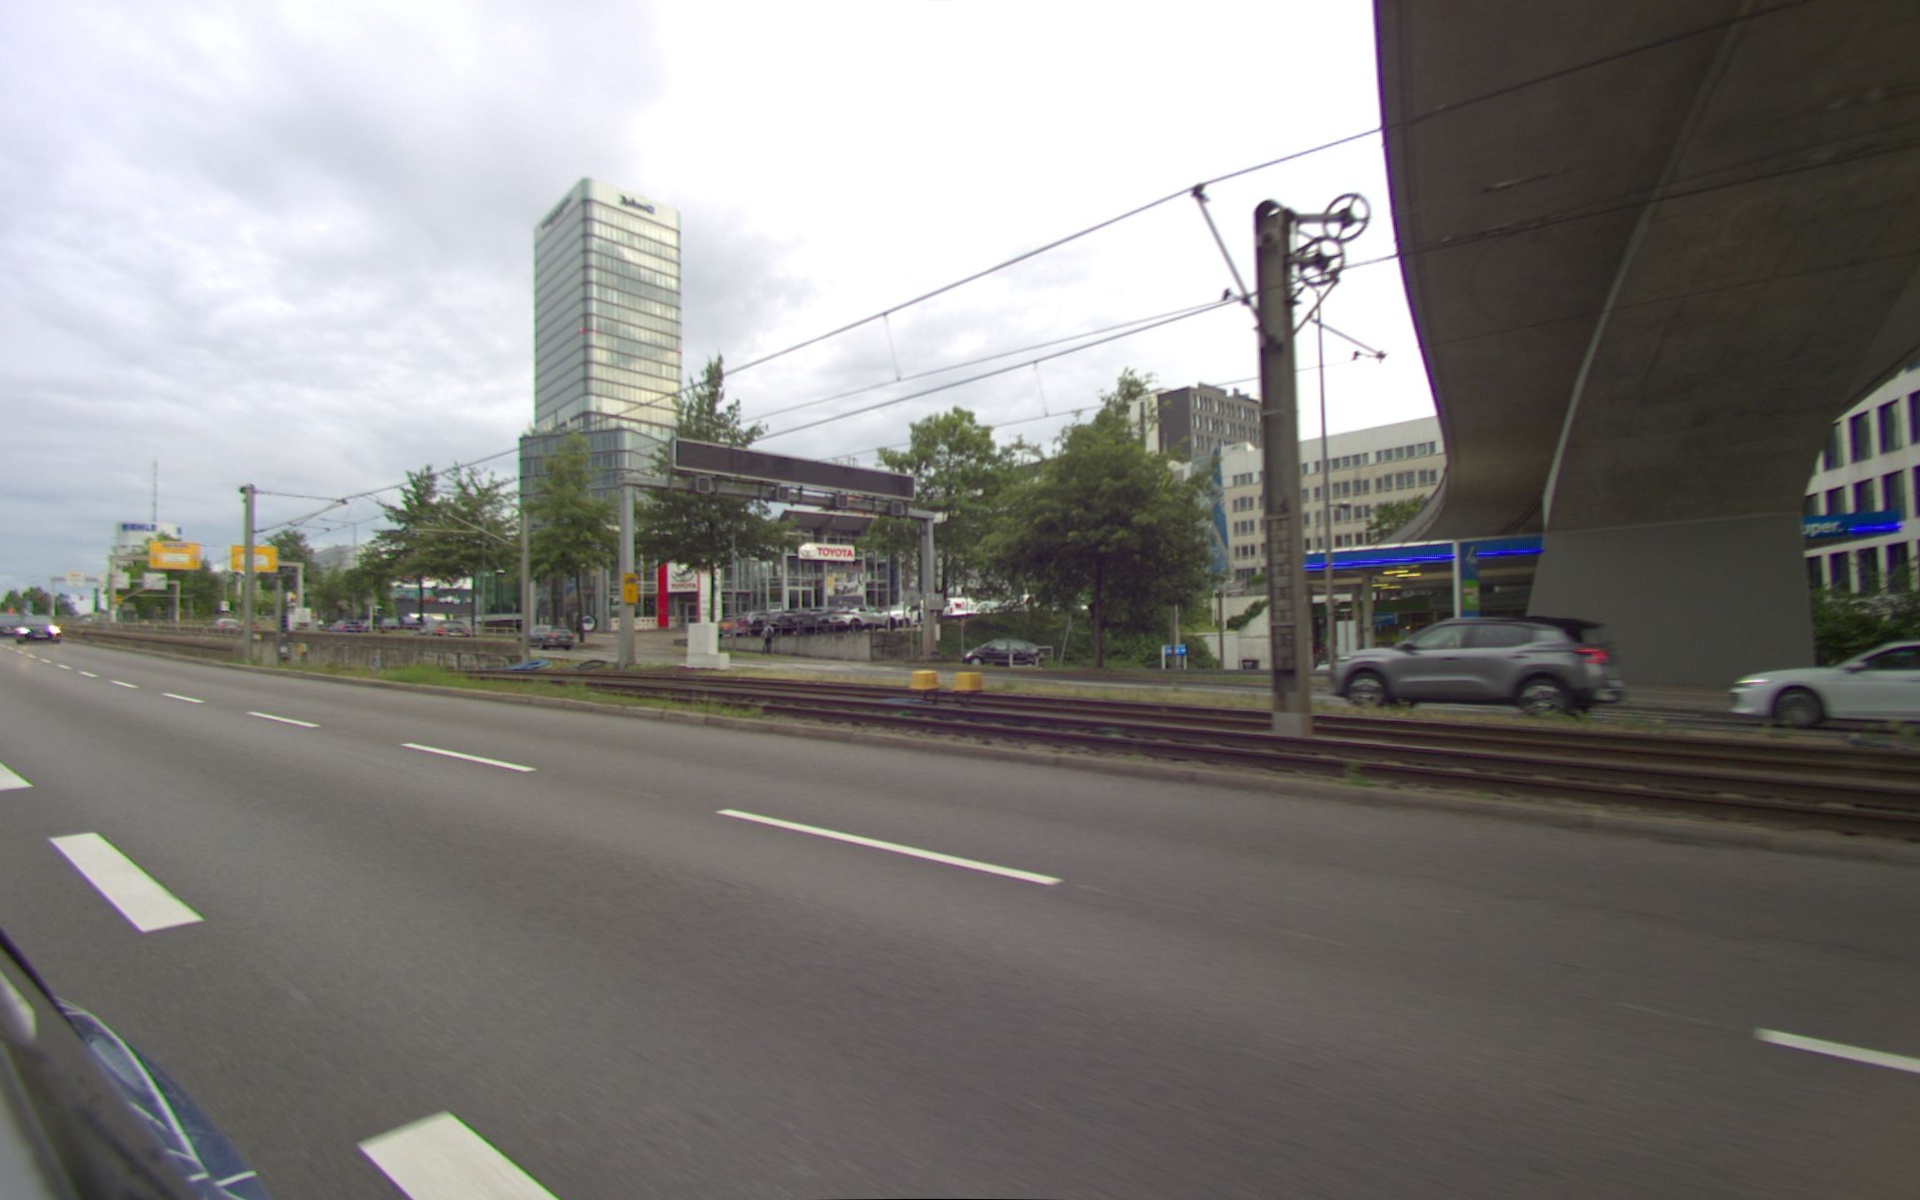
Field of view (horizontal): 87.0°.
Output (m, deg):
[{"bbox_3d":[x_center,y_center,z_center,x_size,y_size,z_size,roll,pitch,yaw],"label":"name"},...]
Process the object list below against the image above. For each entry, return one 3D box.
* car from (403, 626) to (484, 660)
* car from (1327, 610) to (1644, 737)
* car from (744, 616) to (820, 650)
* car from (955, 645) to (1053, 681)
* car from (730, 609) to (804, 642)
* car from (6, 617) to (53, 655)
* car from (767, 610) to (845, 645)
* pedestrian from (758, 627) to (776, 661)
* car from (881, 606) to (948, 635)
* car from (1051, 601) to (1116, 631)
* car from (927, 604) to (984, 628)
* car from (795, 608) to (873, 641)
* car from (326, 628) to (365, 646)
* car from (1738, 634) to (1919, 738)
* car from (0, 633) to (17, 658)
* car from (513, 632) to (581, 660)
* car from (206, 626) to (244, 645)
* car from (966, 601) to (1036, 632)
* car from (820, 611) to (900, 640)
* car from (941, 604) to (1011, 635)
[{"bbox_3d":[-25.814,2.134,50.536,4.758,1.550,2.025,-3,-1,42],"label":"car"},{"bbox_3d":[8.497,1.125,16.611,4.225,1.790,1.899,-3,-2,44],"label":"car"},{"bbox_3d":[-10.899,1.987,62.131,4.301,1.962,1.887,0,0,-43],"label":"car"},{"bbox_3d":[2.057,2.934,47.776,4.298,1.515,1.888,0,0,-8],"label":"car"},{"bbox_3d":[-12.175,1.579,63.893,1.886,1.962,4.303,-1,0,45],"label":"car"},{"bbox_3d":[-50.516,1.913,54.911,1.769,1.882,4.381,0,0,-44],"label":"car"},{"bbox_3d":[-9.187,1.609,60.544,4.301,1.962,1.887,0,0,-43],"label":"car"},{"bbox_3d":[-10.476,2.366,54.890,0.637,1.809,0.678,-1,0,45],"label":"pedestrian"},{"bbox_3d":[-3.018,1.349,67.634,4.301,1.828,1.887,0,0,-43],"label":"car"},{"bbox_3d":[7.924,1.001,64.716,4.301,1.784,1.846,0,0,-43],"label":"car"},{"bbox_3d":[-0.316,1.124,72.141,3.862,1.605,1.804,0,0,-43],"label":"car"},{"bbox_3d":[-7.284,1.400,58.710,4.137,1.785,1.887,0,0,-43],"label":"car"},{"bbox_3d":[-49.650,2.937,81.734,1.746,1.319,4.114,0,0,-45],"label":"car"},{"bbox_3d":[15.199,1.312,15.773,4.657,1.509,1.899,-3,-2,44],"label":"car"},{"bbox_3d":[-64.076,3.014,67.378,1.769,1.556,4.381,0,0,-44],"label":"car"},{"bbox_3d":[-24.549,2.729,60.130,4.567,1.540,2.025,-3,-2,43],"label":"car"},{"bbox_3d":[-60.744,2.933,83.579,4.877,1.411,1.769,0,0,45],"label":"car"},{"bbox_3d":[2.564,1.010,62.507,4.301,1.828,1.887,0,0,-43],"label":"car"},{"bbox_3d":[-5.639,1.435,57.446,4.301,1.515,1.887,0,0,-43],"label":"car"},{"bbox_3d":[1.043,1.198,64.055,4.301,1.828,1.887,0,0,-43],"label":"car"}]
